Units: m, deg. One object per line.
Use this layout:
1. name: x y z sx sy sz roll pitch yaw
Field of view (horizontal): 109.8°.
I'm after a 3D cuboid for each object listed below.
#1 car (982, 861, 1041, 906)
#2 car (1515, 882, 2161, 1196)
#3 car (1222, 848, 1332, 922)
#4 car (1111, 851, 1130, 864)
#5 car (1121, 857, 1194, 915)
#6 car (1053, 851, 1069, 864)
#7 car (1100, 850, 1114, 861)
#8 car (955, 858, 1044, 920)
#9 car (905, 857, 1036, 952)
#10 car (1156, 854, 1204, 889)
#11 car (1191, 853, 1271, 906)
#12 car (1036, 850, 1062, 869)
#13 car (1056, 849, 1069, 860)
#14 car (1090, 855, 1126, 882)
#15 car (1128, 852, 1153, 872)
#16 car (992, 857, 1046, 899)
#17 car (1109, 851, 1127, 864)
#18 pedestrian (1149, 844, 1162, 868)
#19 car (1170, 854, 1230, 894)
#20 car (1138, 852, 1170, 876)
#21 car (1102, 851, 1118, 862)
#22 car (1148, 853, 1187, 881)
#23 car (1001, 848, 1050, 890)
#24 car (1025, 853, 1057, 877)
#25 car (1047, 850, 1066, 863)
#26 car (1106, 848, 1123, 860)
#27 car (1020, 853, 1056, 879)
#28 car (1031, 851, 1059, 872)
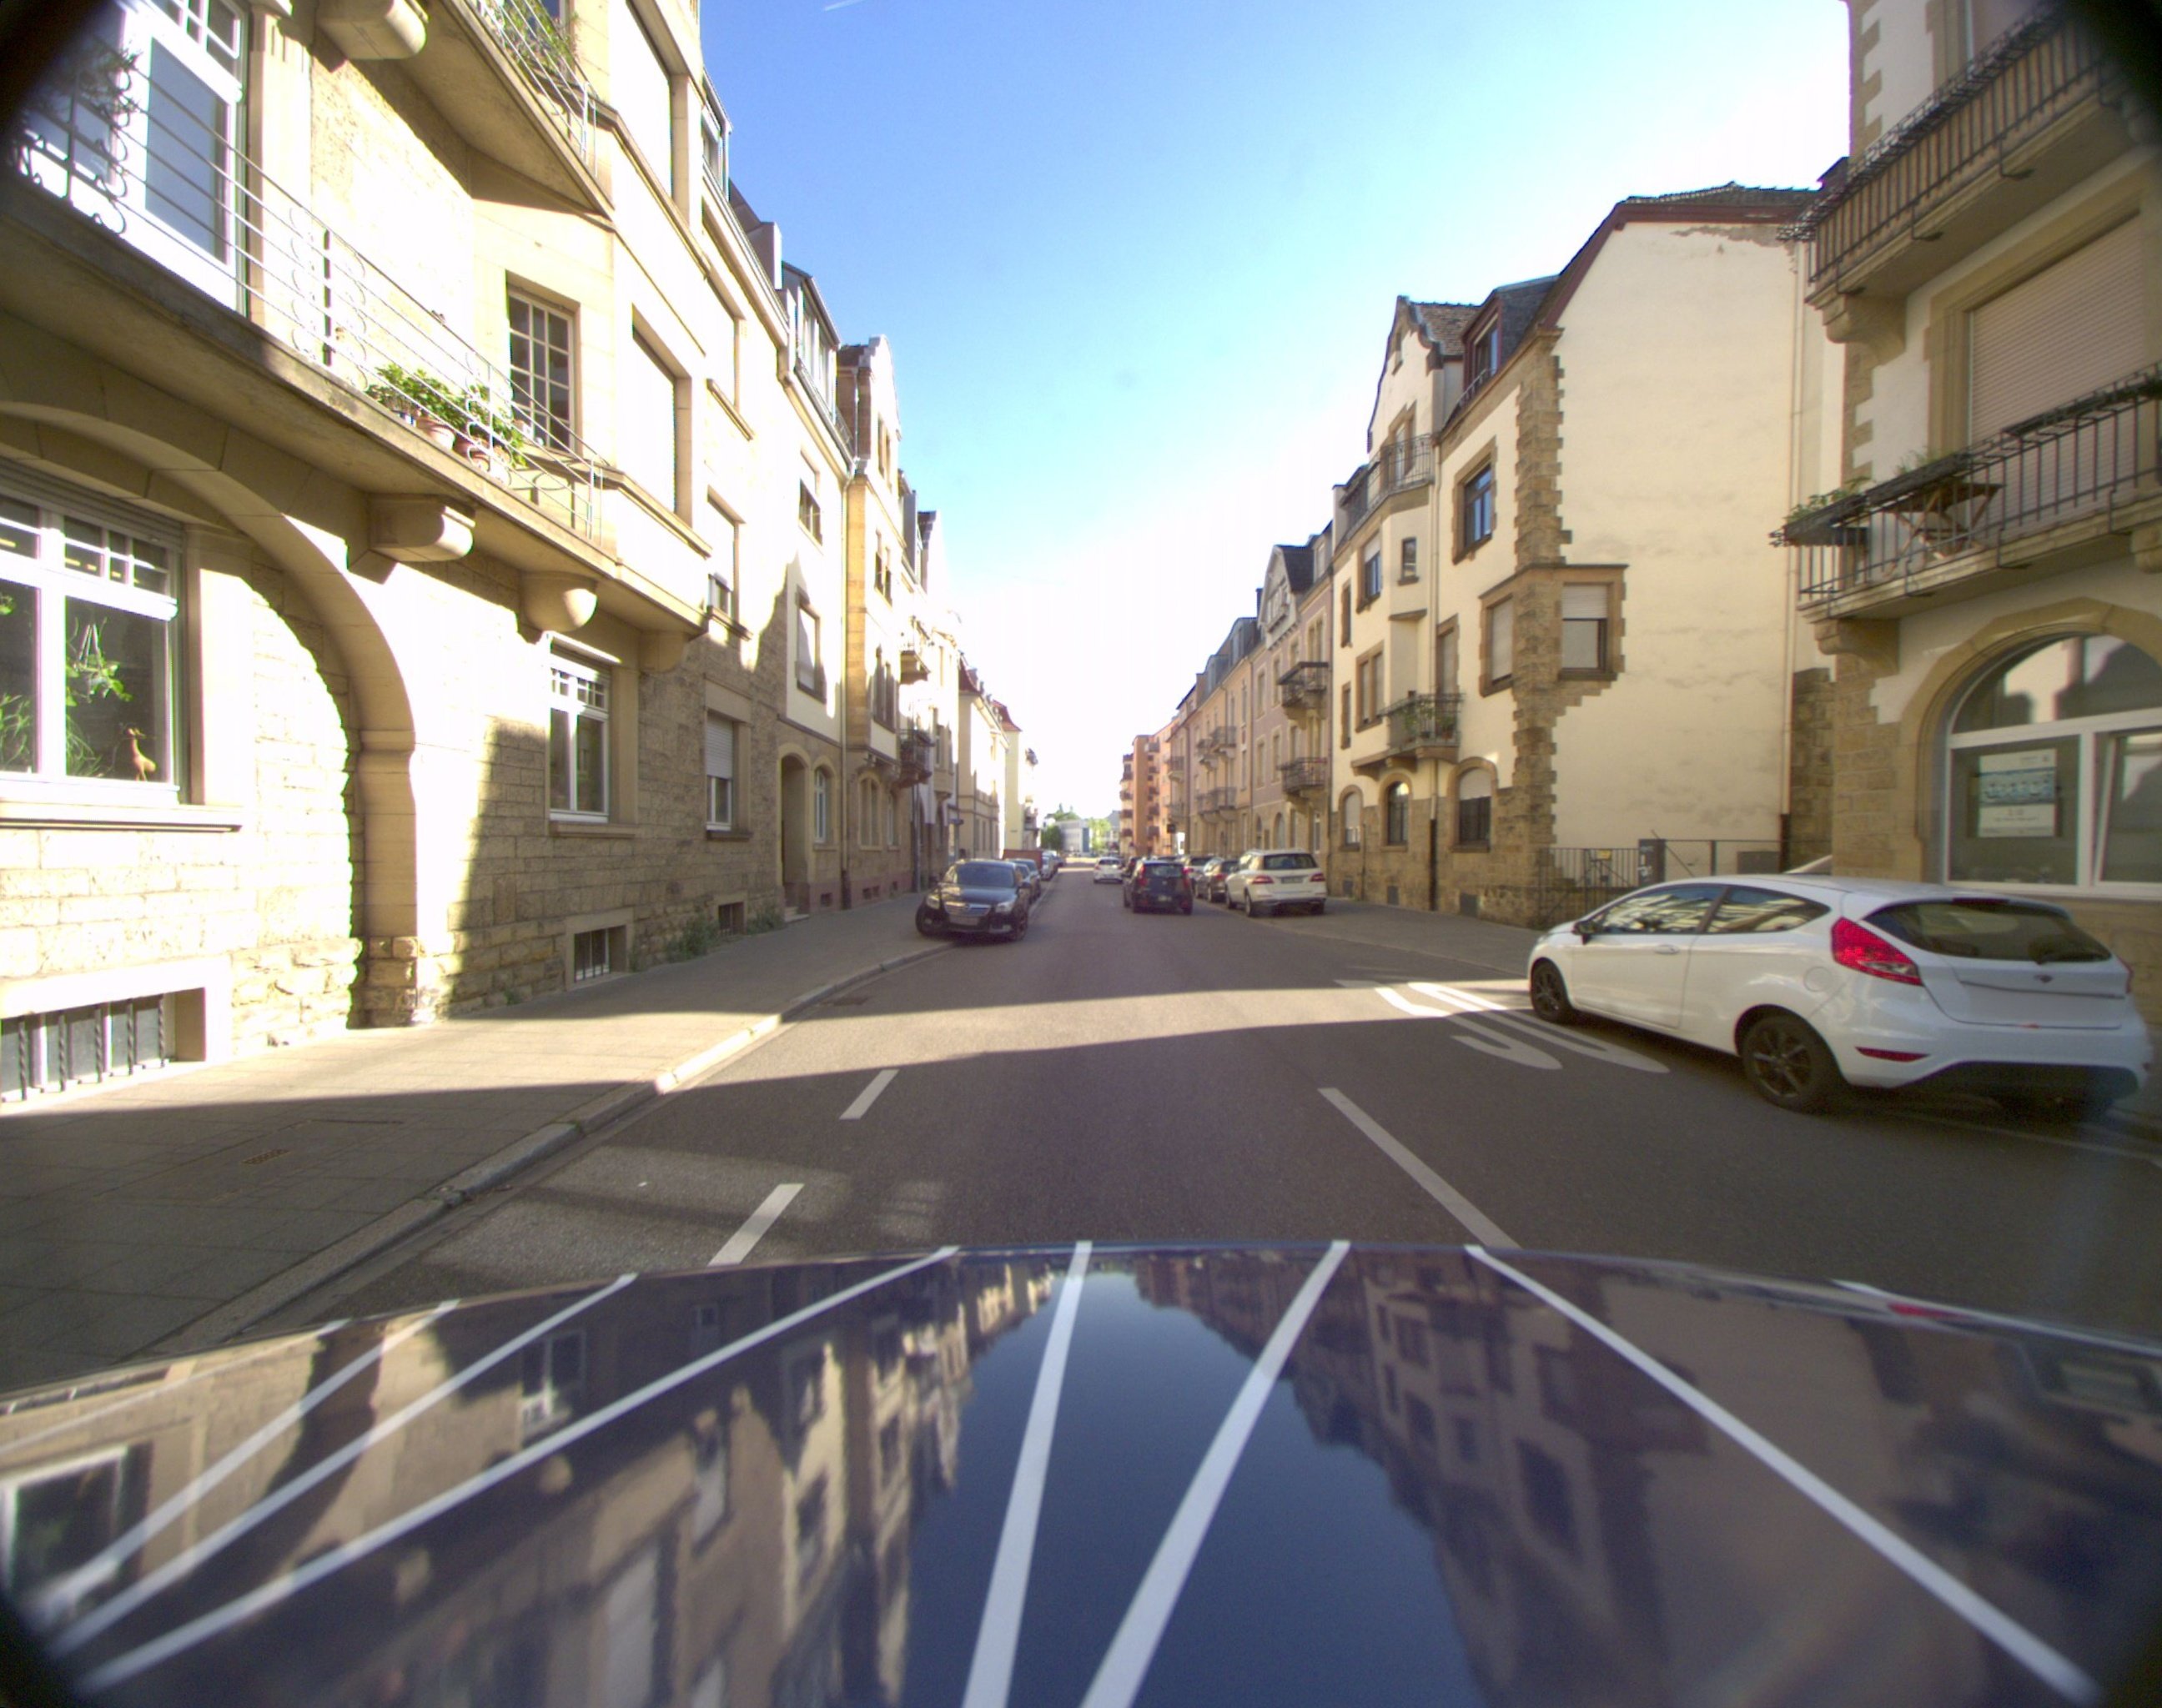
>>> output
1. car: -2.234 0.928 25.376 1.661 1.272 3.729 1 1 -1
2. car: 5.111 1.016 5.717 1.656 1.449 3.643 2 0 2
3. car: 5.195 0.753 20.708 1.890 1.717 4.211 -2 1 1
4. car: 4.675 0.411 91.389 2.005 1.500 4.320 1 1 -1
5. car: 2.096 0.842 21.565 1.656 1.449 3.642 0 1 -1
6. car: -2.581 0.434 99.950 2.005 1.500 4.320 1 1 -1
7. car: 3.961 0.190 116.757 2.005 1.500 4.320 1 1 -1
8. car: -2.098 0.876 20.797 2.005 1.499 4.321 1 0 -1
9. car: -2.038 0.883 15.256 2.024 1.500 4.111 2 1 -1
10. car: 4.856 0.819 37.804 1.857 1.491 4.318 -2 1 1
11. car: 5.122 0.823 26.542 1.890 1.500 4.320 -4 1 1
12. car: -2.671 0.454 64.497 2.005 1.500 4.320 1 1 -1
13. car: -2.938 0.072 123.334 2.005 1.722 4.320 1 1 -1
14. car: 1.483 0.791 43.101 1.703 1.474 3.533 1 0 -4
15. car: 4.894 0.644 62.970 1.793 1.500 4.320 -2 1 1
16. car: -2.385 0.893 30.118 1.824 1.415 4.320 1 1 -1
17. car: 4.625 0.395 96.203 2.005 1.500 4.320 1 1 -1
18. pedestrian: 6.353 0.201 64.999 0.952 2.002 1.066 -2 1 0
19. car: 4.984 0.797 32.363 1.890 1.500 4.320 -2 1 1
20. car: 4.992 0.671 52.348 1.809 1.500 4.003 -2 1 1
21. car: 4.114 0.291 107.249 2.005 1.500 4.320 1 1 -1
22. car: 5.175 0.727 46.079 1.890 1.500 4.320 -2 1 1
23. car: -2.559 0.652 35.807 2.005 1.828 4.320 1 1 -1
24. car: -2.748 0.739 52.639 2.005 1.500 4.320 1 1 -1
25. car: -2.842 0.269 88.977 2.005 1.500 4.320 1 1 -1
26. car: 4.519 0.005 102.000 2.005 1.500 4.320 1 1 -1
27. car: -2.652 0.719 47.865 2.005 1.500 4.320 1 1 -1
28. car: -2.744 0.538 58.664 2.005 1.500 4.320 1 1 -1
